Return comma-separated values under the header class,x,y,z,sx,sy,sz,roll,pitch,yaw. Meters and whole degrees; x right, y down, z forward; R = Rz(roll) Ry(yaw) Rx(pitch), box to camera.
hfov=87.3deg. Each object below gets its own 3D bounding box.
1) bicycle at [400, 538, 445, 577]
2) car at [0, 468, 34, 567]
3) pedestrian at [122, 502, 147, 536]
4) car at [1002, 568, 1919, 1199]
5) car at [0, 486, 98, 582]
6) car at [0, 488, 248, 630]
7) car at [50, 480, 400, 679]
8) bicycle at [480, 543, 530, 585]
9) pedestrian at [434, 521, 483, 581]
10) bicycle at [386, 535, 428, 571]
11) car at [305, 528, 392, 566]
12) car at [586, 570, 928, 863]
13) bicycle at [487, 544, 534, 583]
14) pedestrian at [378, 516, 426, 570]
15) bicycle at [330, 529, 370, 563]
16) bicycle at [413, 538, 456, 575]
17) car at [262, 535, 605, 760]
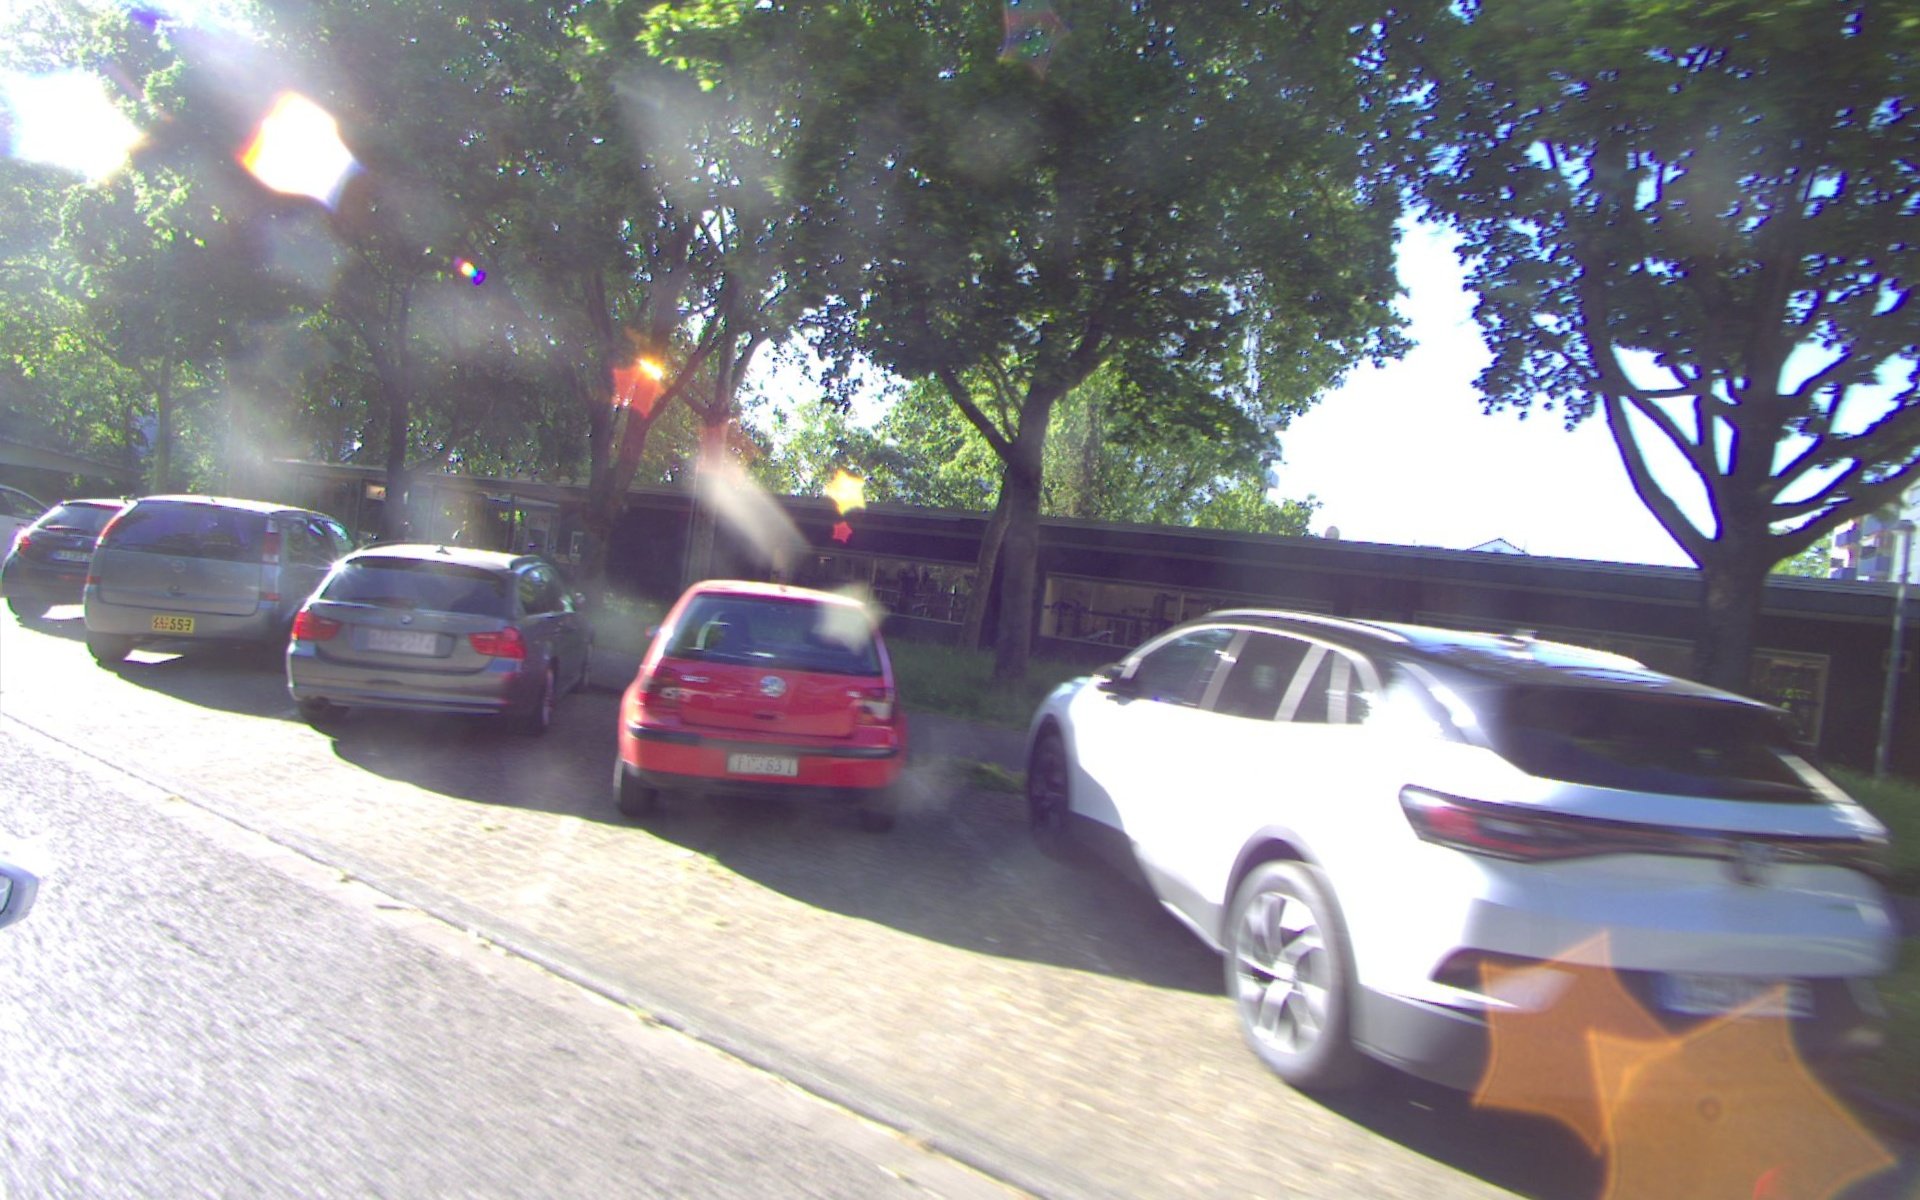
class,x,y,z,sx,sy,sz,roll,pitch,yaw
bicycle,-20.126,-1.611,37.657,1.776,1.268,0.576,6,-1,32
car,-18.804,-1.611,17.729,1.739,1.866,3.942,6,1,-11
pedestrian,-46.914,-4.613,57.171,0.726,1.799,0.660,8,1,24
car,1.715,0.822,4.884,1.837,1.698,4.289,5,2,-13
car,-15.965,-1.132,16.070,1.654,1.514,3.618,6,1,-11
car,-10.986,-0.548,12.959,1.656,1.477,3.733,6,1,-15
car,-7.554,-0.238,10.812,1.673,1.611,3.710,6,1,-15
bicycle,-15.951,-1.270,35.237,1.776,1.268,0.576,6,-1,32
pedestrian,-16.952,-1.663,34.009,0.935,1.863,0.966,7,1,24
bicycle,-22.463,-1.910,40.863,1.776,1.268,0.576,6,-1,32
car,-35.467,-3.062,58.432,1.638,1.513,3.986,9,0,22
car,-1.378,0.601,7.151,1.682,1.439,3.567,5,1,-10
bicycle,-16.838,-1.370,37.667,1.776,1.268,0.576,6,-1,32
pedestrian,-19.615,-1.982,35.375,0.719,1.729,1.130,7,0,24
bicycle,-25.913,-2.294,42.724,1.776,1.268,0.576,6,-1,32
bicycle,-20.768,-1.730,39.735,1.776,1.268,0.576,6,-1,32
car,-4.340,0.270,8.992,1.659,1.421,4.074,6,1,-14
